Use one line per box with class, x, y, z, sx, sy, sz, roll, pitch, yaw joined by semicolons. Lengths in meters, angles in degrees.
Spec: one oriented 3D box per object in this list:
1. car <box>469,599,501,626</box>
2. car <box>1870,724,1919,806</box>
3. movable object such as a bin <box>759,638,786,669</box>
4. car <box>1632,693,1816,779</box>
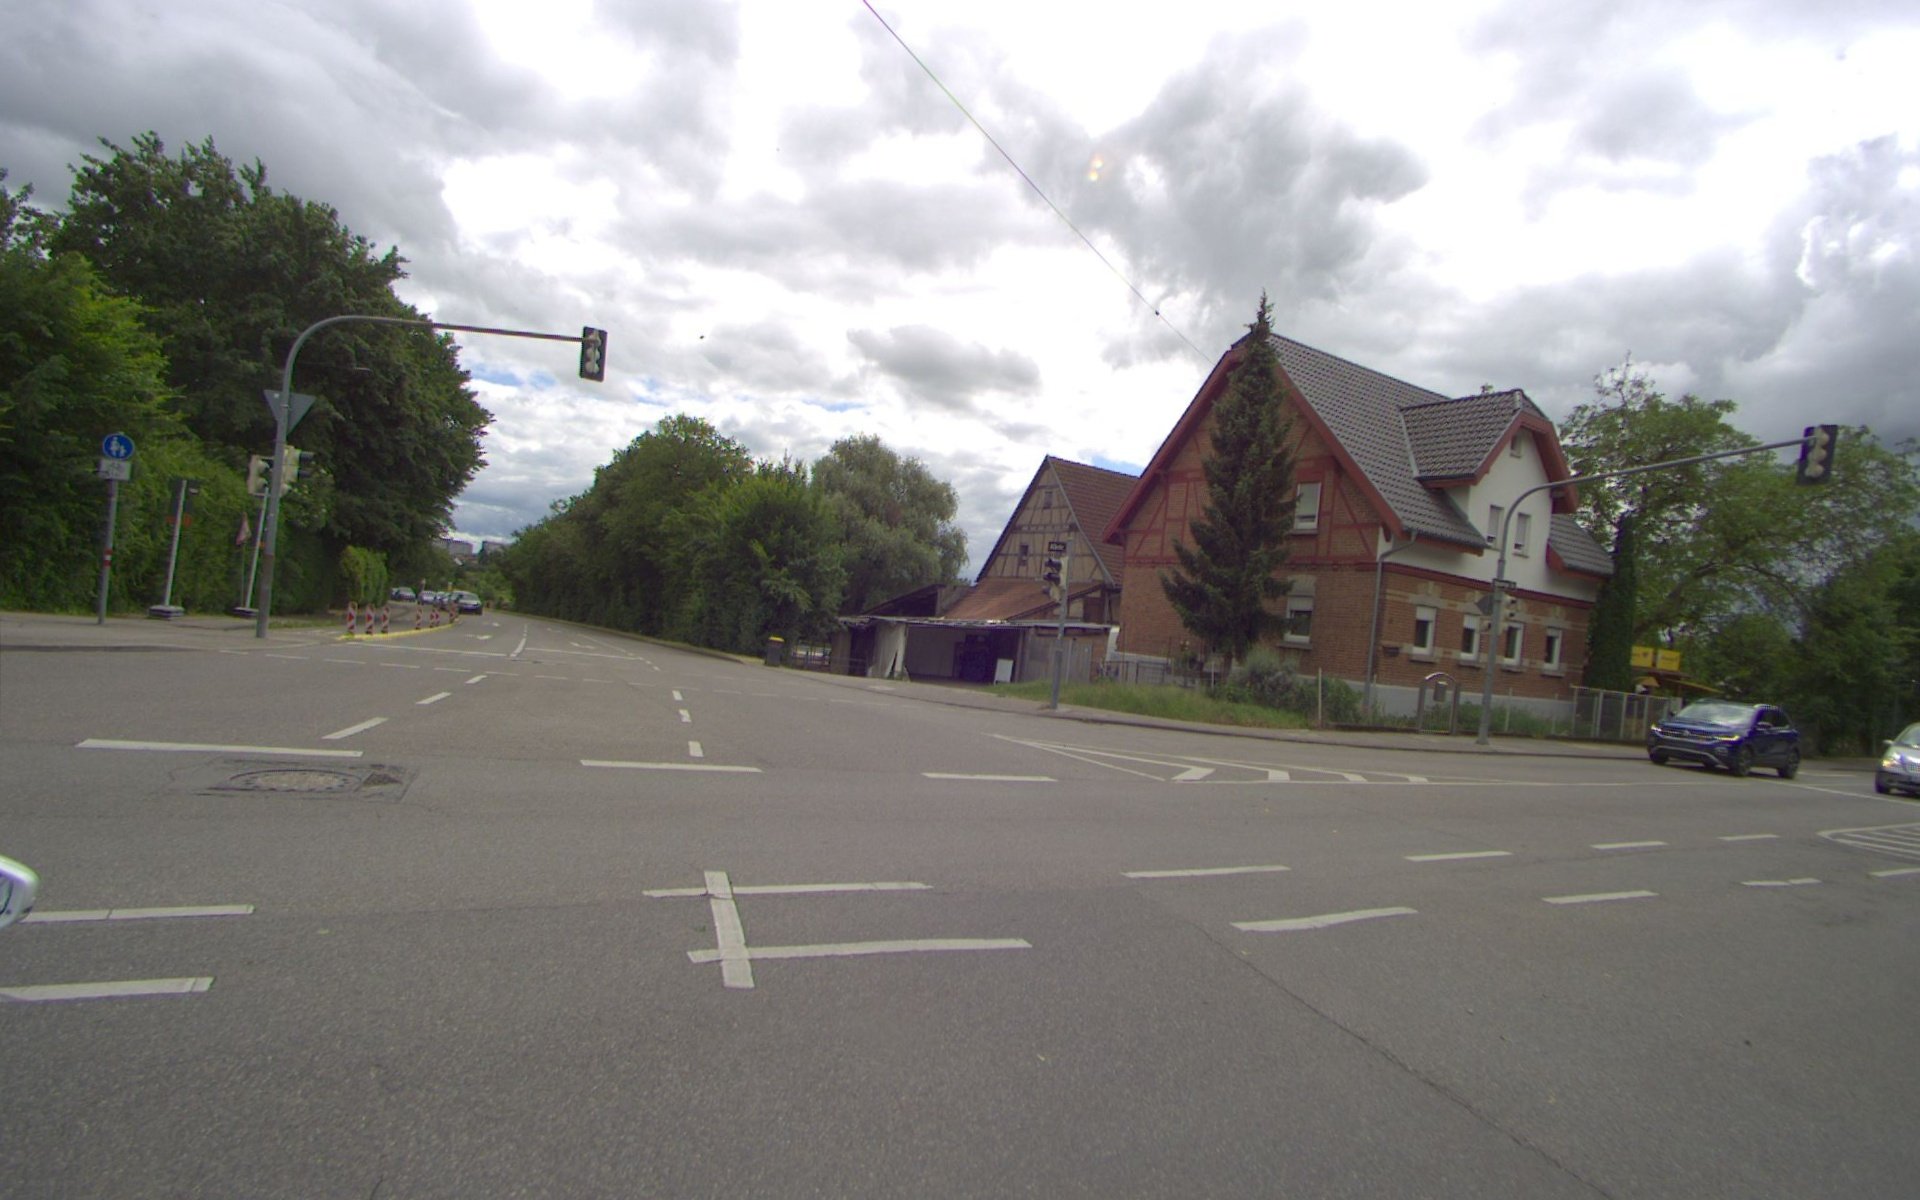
car;-36.034;0.918;76.261;1.975;1.771;3.976;6;-1;-26
car;20.708;3.508;21.133;3.529;1.537;1.763;6;-2;-39
movable object such as a bin;-5.989;1.696;32.175;0.582;0.918;0.603;6;0;8
car;17.037;3.044;22.402;3.958;1.537;1.912;6;-1;-32
